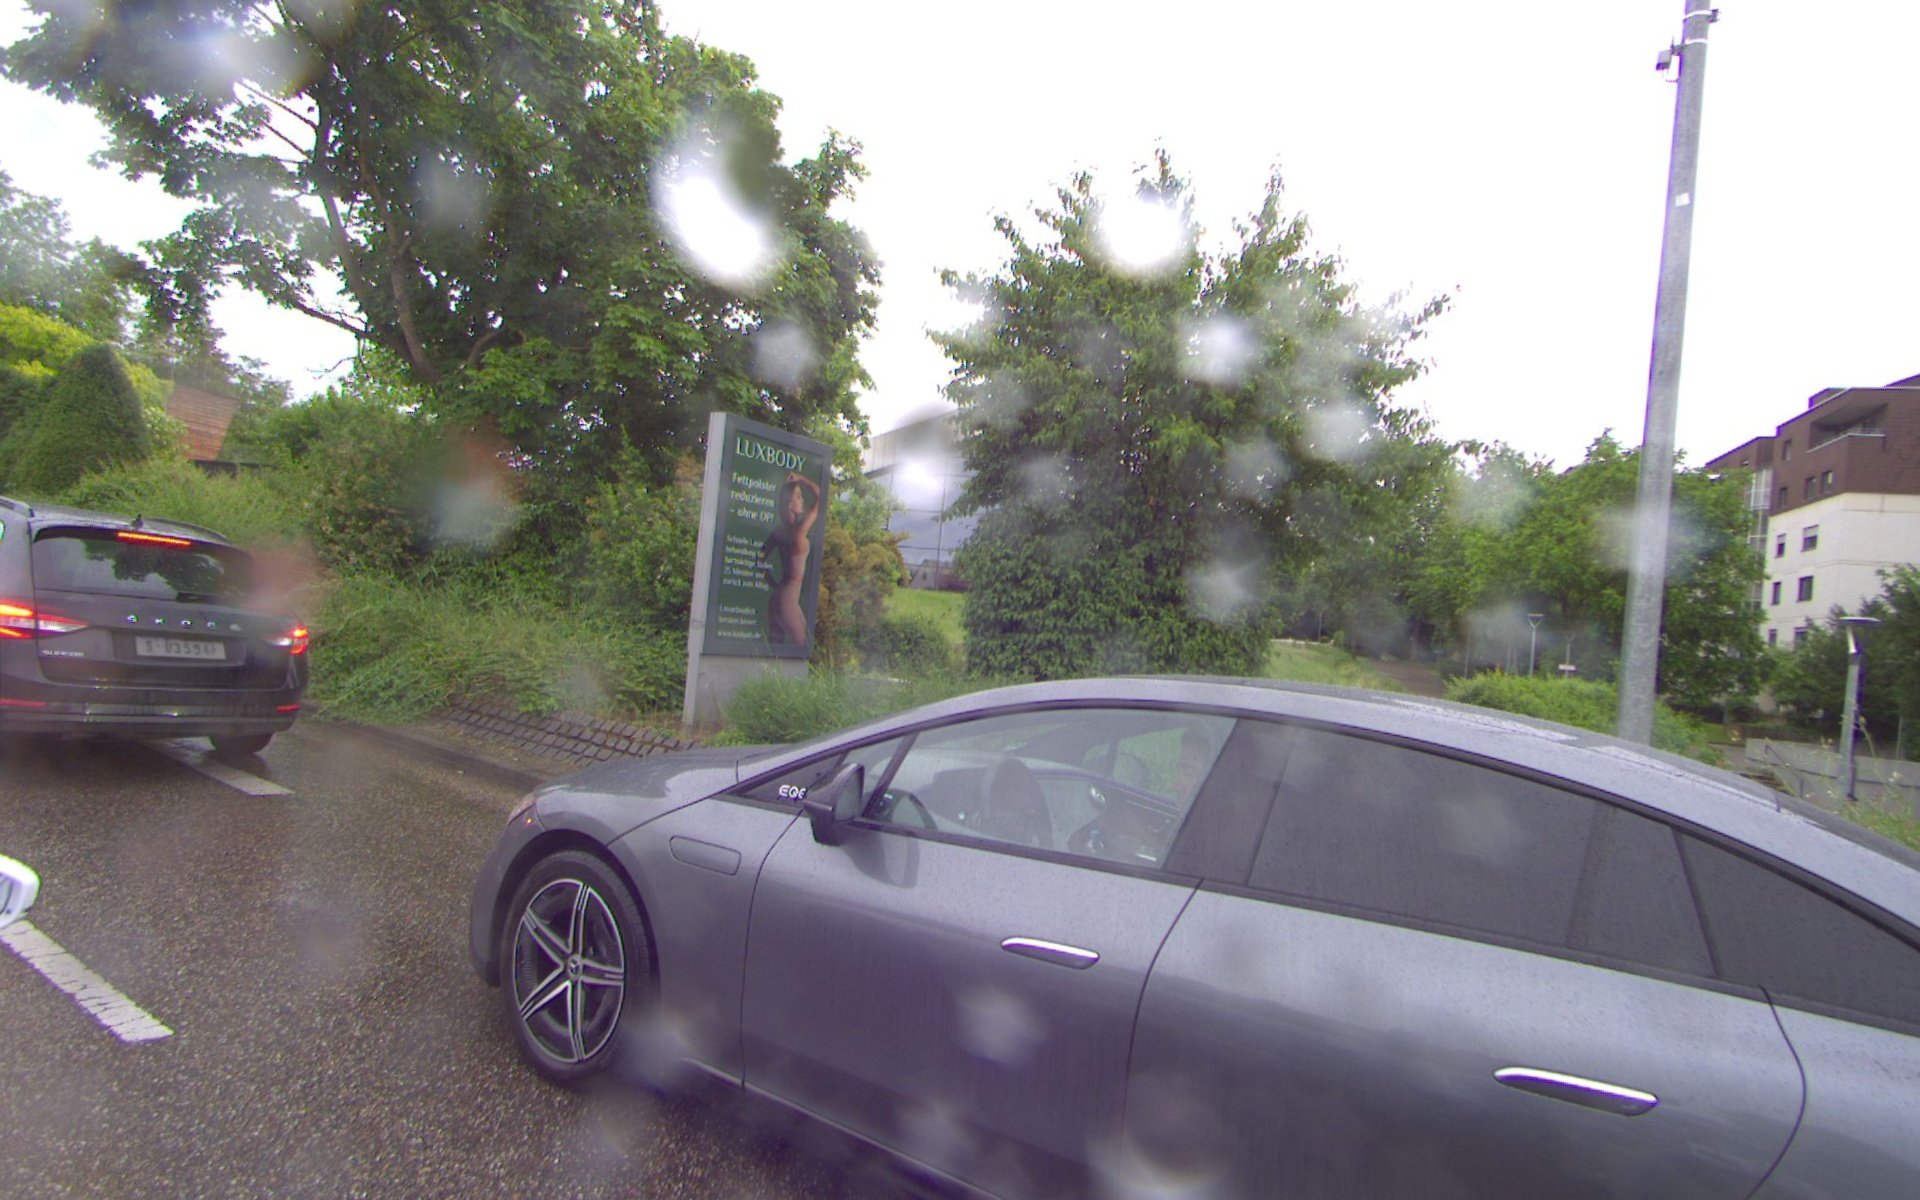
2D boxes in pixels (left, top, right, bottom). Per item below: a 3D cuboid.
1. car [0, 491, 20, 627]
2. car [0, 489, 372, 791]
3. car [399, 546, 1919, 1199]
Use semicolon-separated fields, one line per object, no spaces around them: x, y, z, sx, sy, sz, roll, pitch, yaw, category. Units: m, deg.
-12.206;-0.698;10.877;4.048;1.483;1.842;7;-2;31;car
-6.087;0.071;6.763;4.279;1.483;1.841;7;-2;33;car
0.708;0.906;2.902;4.728;1.483;1.842;7;-2;31;car
